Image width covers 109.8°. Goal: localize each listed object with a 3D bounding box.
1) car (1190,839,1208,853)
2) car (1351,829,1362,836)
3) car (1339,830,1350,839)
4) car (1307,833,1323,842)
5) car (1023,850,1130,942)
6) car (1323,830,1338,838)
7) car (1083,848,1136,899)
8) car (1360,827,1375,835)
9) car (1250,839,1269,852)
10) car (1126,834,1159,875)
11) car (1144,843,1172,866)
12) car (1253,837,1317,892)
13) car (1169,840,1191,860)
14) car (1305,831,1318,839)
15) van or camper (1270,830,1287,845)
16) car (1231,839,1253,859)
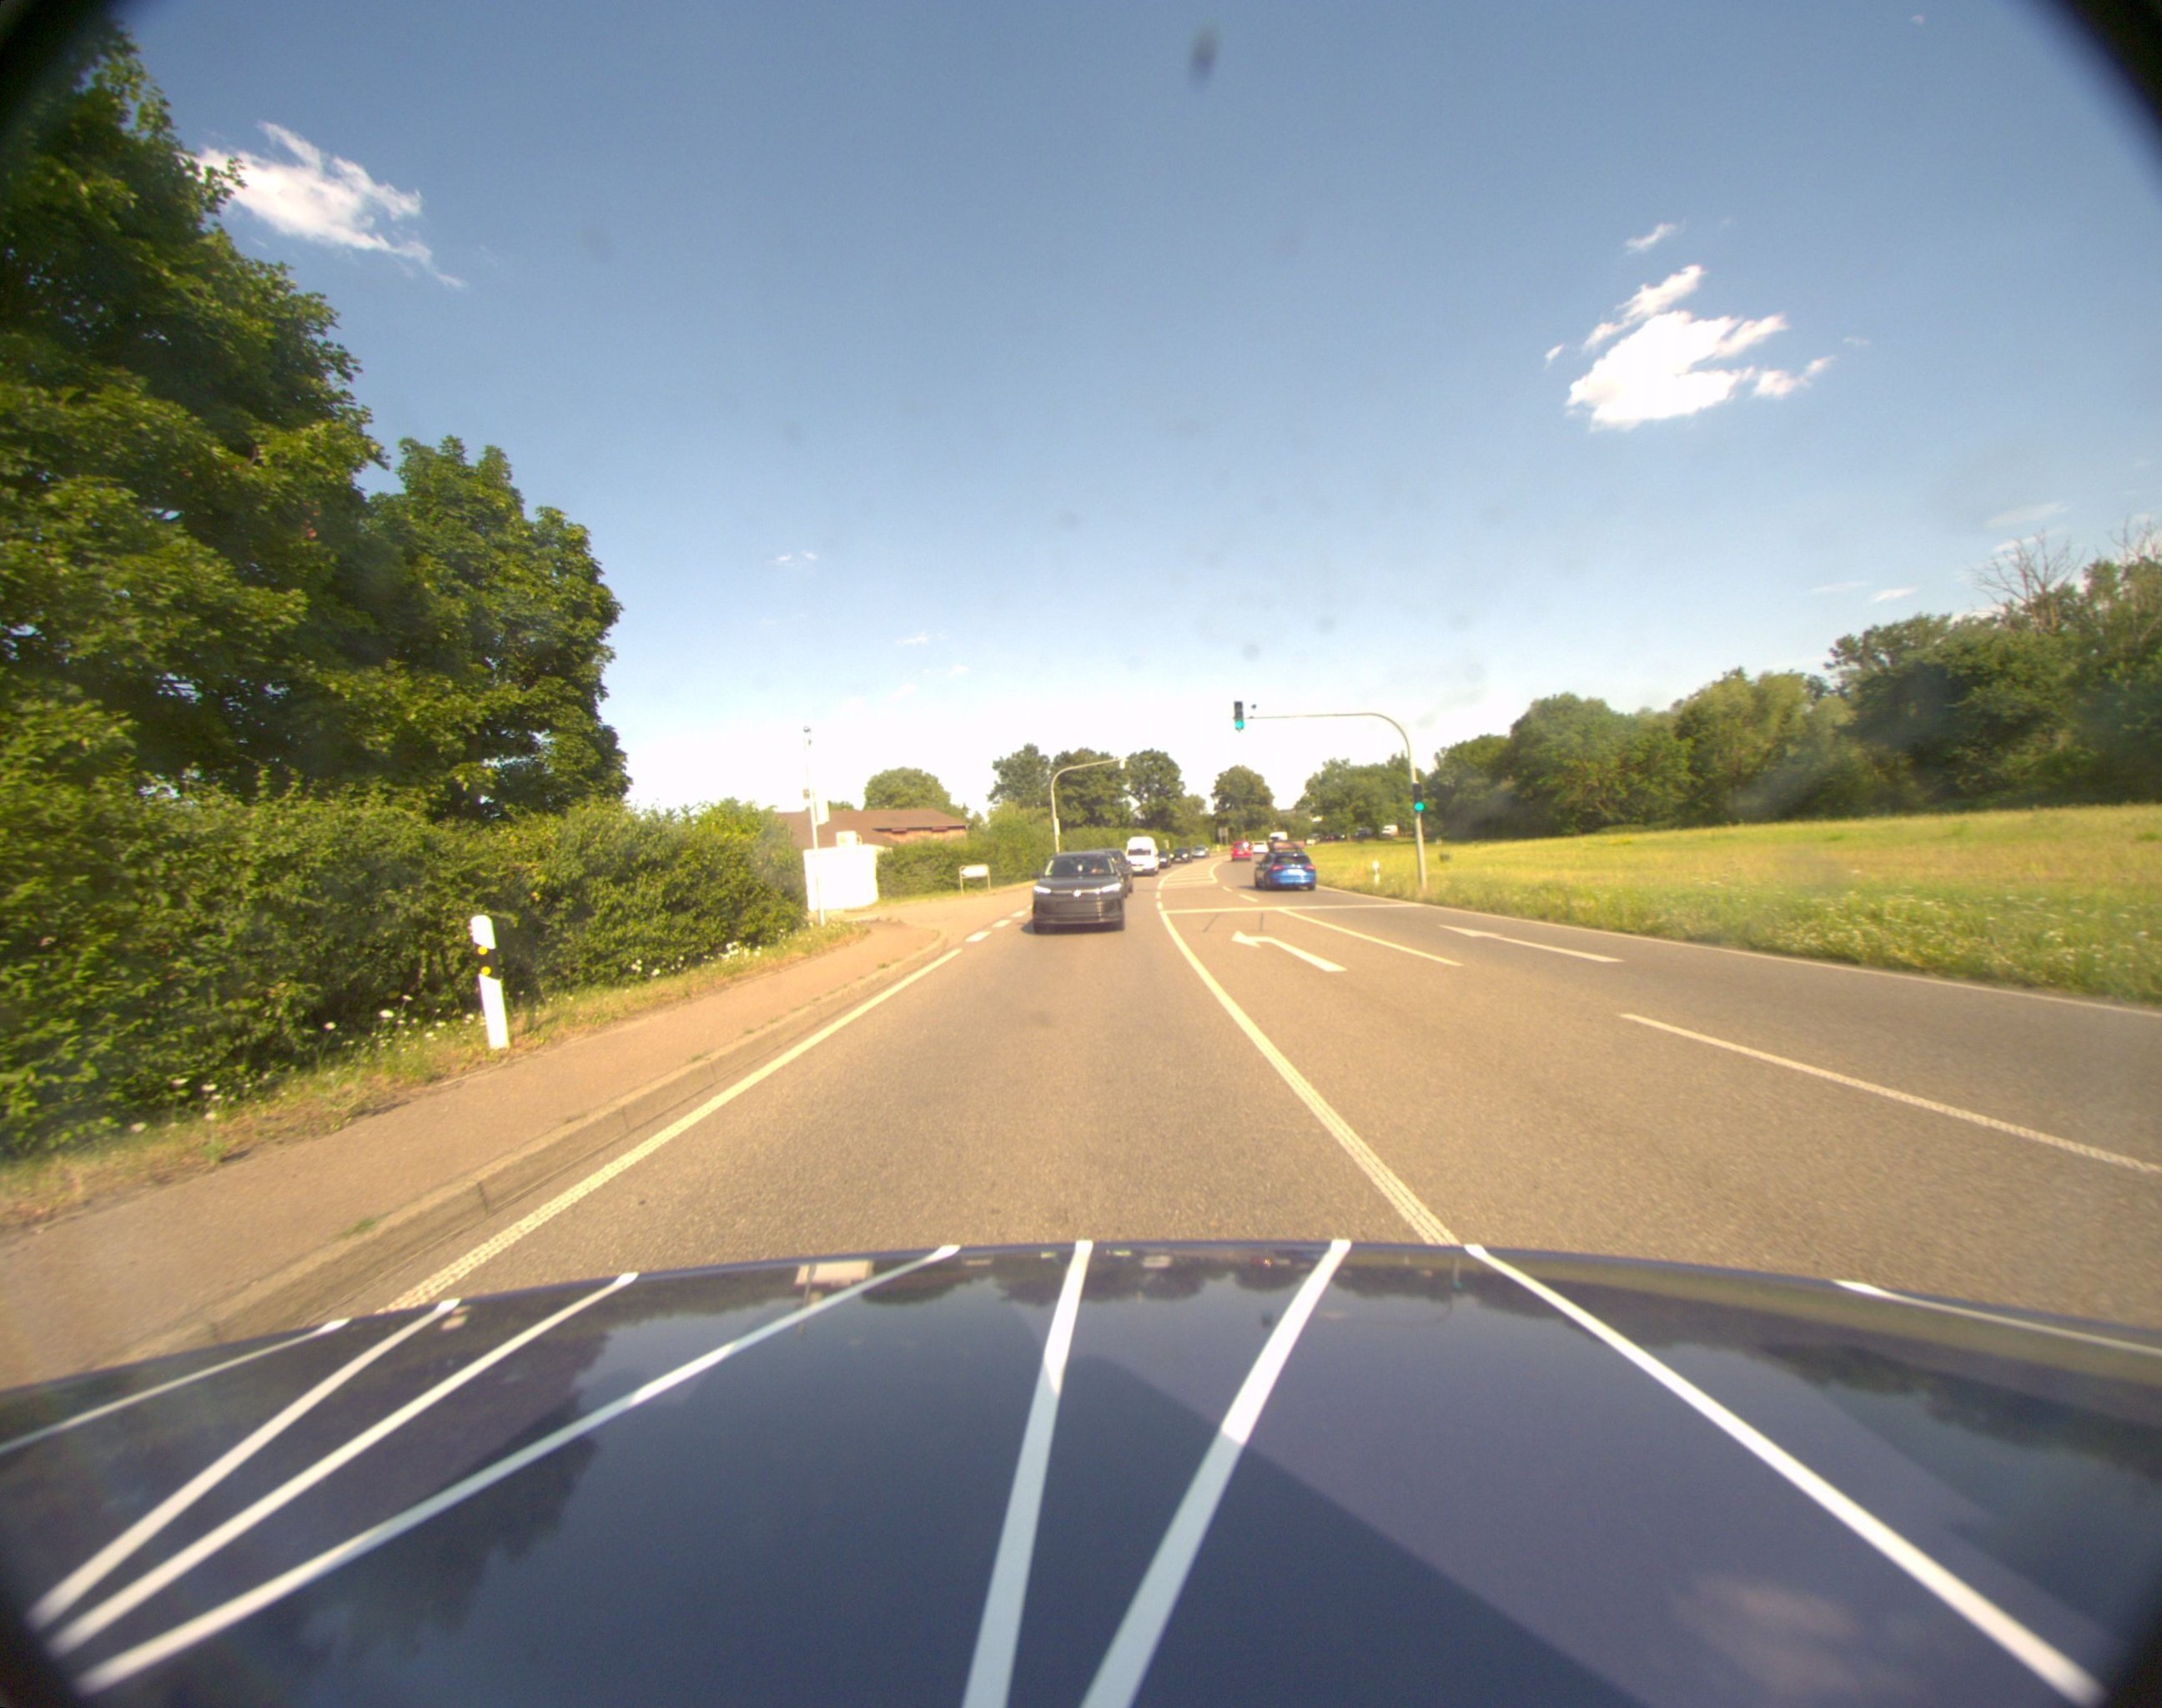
[{"bbox_3d":[13.696,-0.952,88.087,1.633,1.550,3.420,-1,2,17],"label":"car"},{"bbox_3d":[66.881,-5.195,184.280,1.415,1.540,3.172,-4,1,38],"label":"car"},{"bbox_3d":[61.306,-4.581,176.800,1.405,2.002,3.240,-4,1,38],"label":"car"},{"bbox_3d":[48.385,-3.323,156.987,1.995,1.543,4.007,-5,0,36],"label":"car"},{"bbox_3d":[0.042,0.786,16.348,1.865,1.633,4.001,-1,1,5],"label":"car"},{"bbox_3d":[55.003,-4.479,167.652,1.995,1.543,4.006,-5,0,34],"label":"car"},{"bbox_3d":[1.108,0.657,27.806,1.659,1.720,3.806,-1,0,6],"label":"car"},{"bbox_3d":[63.984,-5.156,169.698,1.928,1.577,4.081,0,2,41],"label":"car"},{"bbox_3d":[23.273,-1.124,98.871,1.882,1.577,4.336,-1,0,21],"label":"car"},{"bbox_3d":[3.769,-0.020,46.461,1.843,2.338,4.790,-1,1,5],"label":"car"},{"bbox_3d":[6.044,0.021,59.035,1.692,1.718,3.671,-1,1,13],"label":"car"},{"bbox_3d":[7.674,0.375,28.895,1.728,1.871,4.338,-1,0,7],"label":"car"},{"bbox_3d":[9.284,-0.373,71.328,1.672,1.718,3.671,-2,1,13],"label":"car"},{"bbox_3d":[42.795,-3.538,141.137,1.747,1.458,3.484,-1,1,24],"label":"car"},{"bbox_3d":[35.516,-2.927,136.545,2.031,2.461,5.084,-4,0,23],"label":"van or camper"},{"bbox_3d":[15.144,-0.461,71.443,1.883,1.765,4.325,-1,0,10],"label":"car"}]
